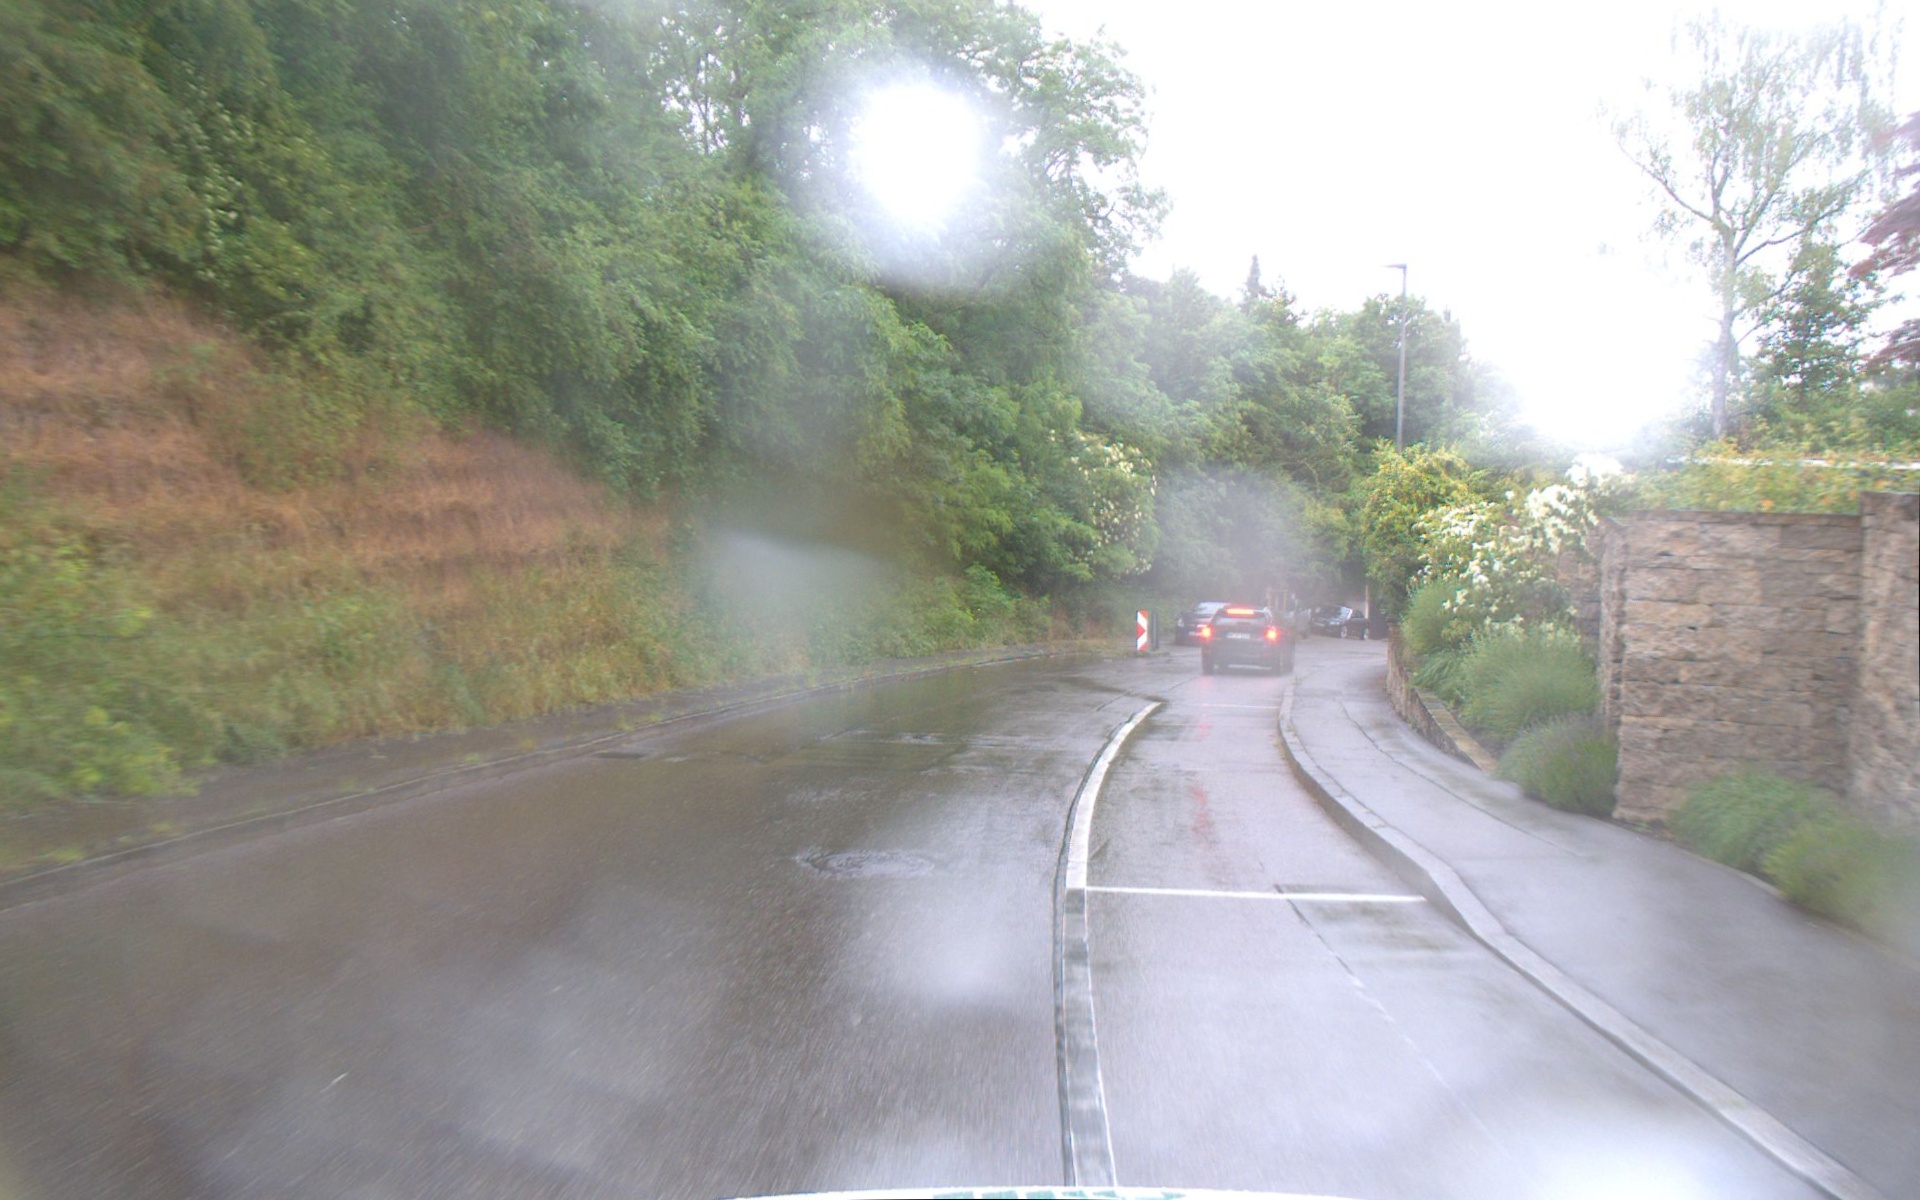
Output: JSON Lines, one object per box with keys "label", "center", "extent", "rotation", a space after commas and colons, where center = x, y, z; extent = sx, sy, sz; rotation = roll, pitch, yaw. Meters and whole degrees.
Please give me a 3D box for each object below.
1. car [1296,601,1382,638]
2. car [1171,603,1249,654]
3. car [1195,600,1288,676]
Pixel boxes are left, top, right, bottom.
{"label": "car", "center": [17.491, 0.910, 76.227], "extent": [1.964, 1.534, 4.545], "rotation": [3, 0, 40]}
{"label": "car", "center": [8.201, 0.908, 53.943], "extent": [1.665, 1.496, 4.000], "rotation": [3, 1, 21]}
{"label": "car", "center": [6.331, 0.807, 36.880], "extent": [1.828, 1.539, 4.096], "rotation": [1, 0, 12]}
